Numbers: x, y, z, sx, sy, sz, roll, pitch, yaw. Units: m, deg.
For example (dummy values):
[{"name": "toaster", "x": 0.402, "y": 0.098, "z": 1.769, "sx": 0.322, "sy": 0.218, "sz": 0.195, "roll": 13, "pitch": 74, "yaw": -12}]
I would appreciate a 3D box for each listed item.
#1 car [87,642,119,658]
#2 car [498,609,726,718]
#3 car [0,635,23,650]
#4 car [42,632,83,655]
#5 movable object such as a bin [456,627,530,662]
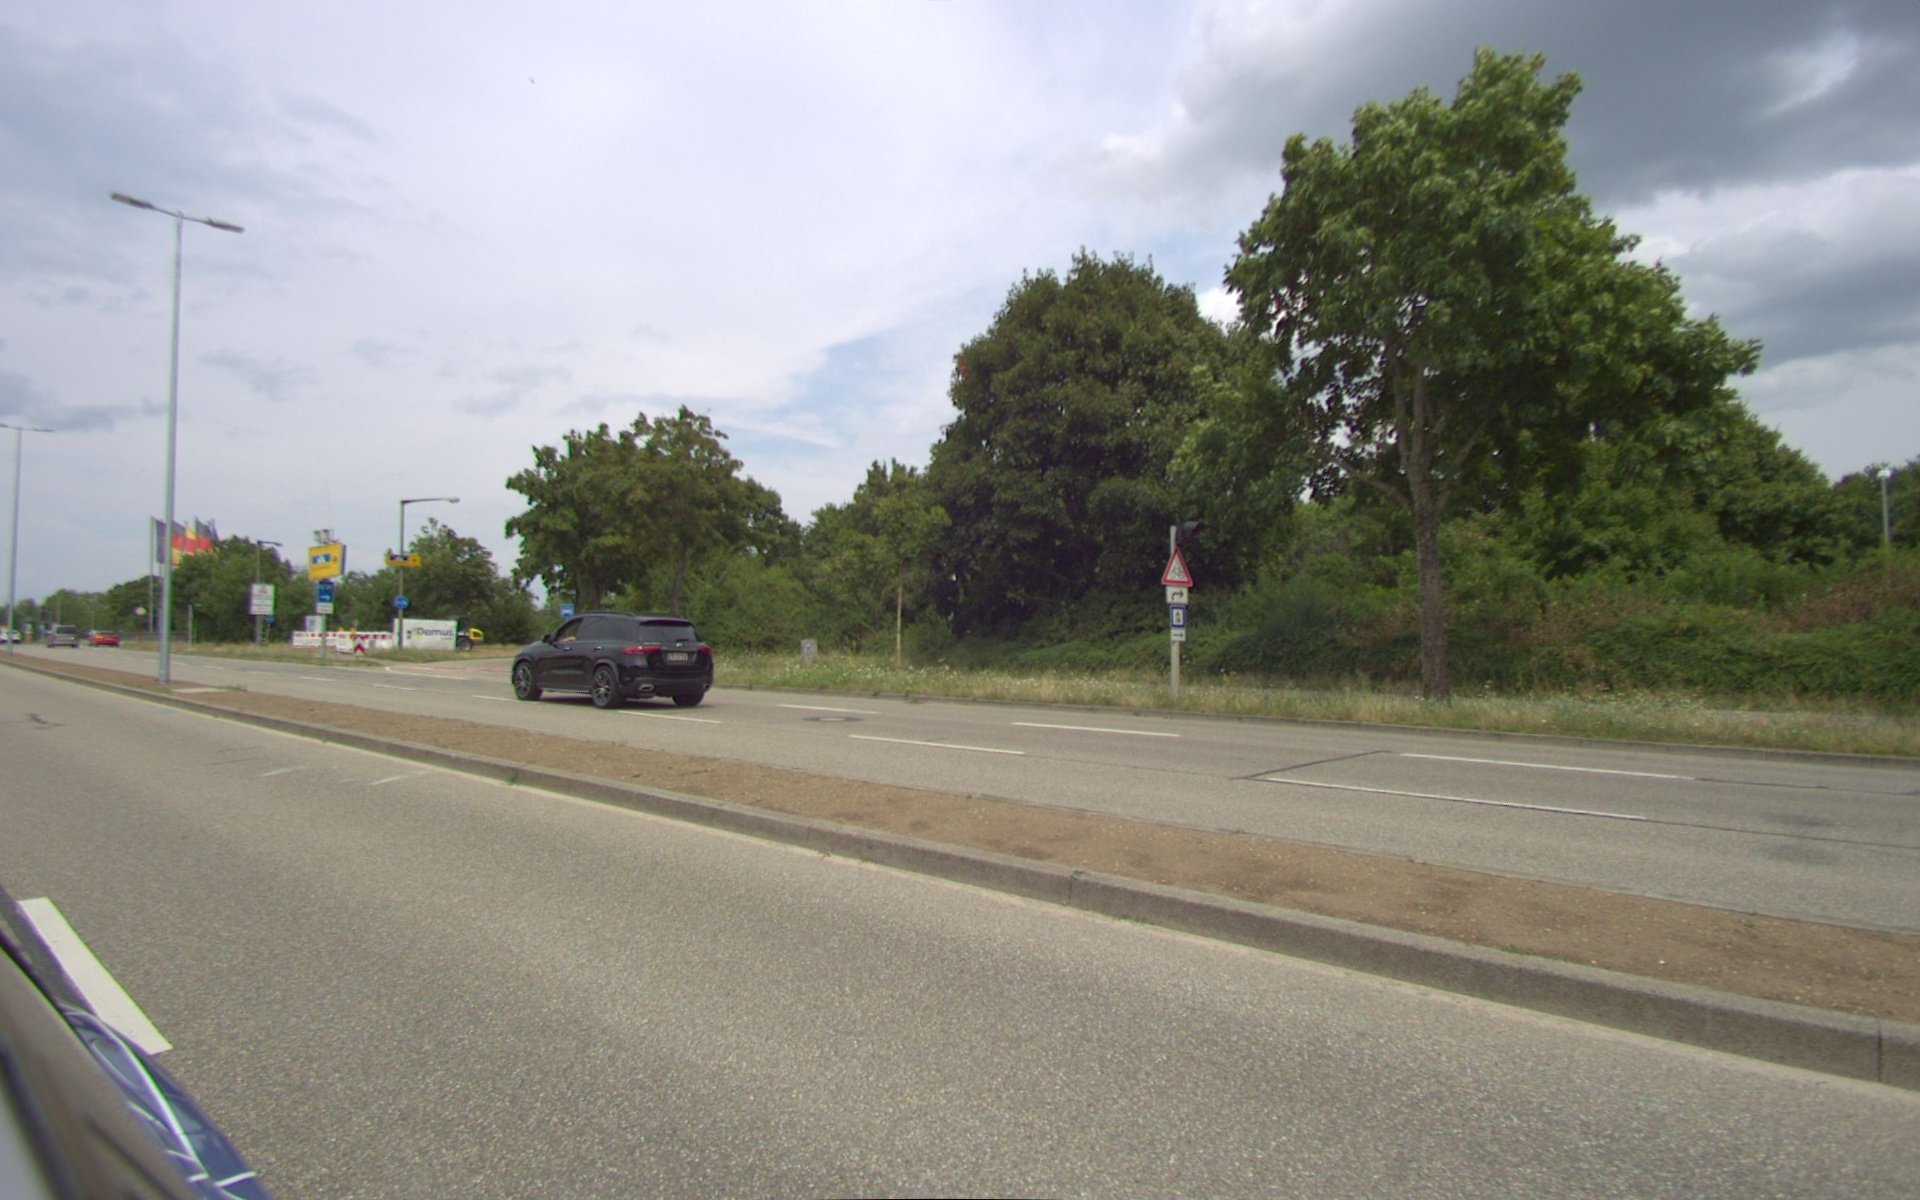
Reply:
[{"name": "car", "x": -77.265, "y": 4.545, "z": 91.239, "sx": 4.347, "sy": 1.332, "sz": 1.734, "roll": -4, "pitch": -3, "yaw": 44}, {"name": "car", "x": -6.753, "y": 1.213, "z": 19.399, "sx": 4.793, "sy": 1.825, "sz": 1.973, "roll": -3, "pitch": -4, "yaw": 40}, {"name": "car", "x": -111.033, "y": 5.019, "z": 118.402, "sx": 4.383, "sy": 1.641, "sz": 1.676, "roll": -4, "pitch": -3, "yaw": 43}, {"name": "car", "x": -72.725, "y": 3.538, "z": 81.988, "sx": 4.537, "sy": 1.823, "sz": 1.883, "roll": -3, "pitch": -3, "yaw": 41}, {"name": "movable object such as a bin", "x": -33.616, "y": 3.176, "z": 72.948, "sx": 1.993, "sy": 2.415, "sz": 4.544, "roll": -3, "pitch": -3, "yaw": 31}]
